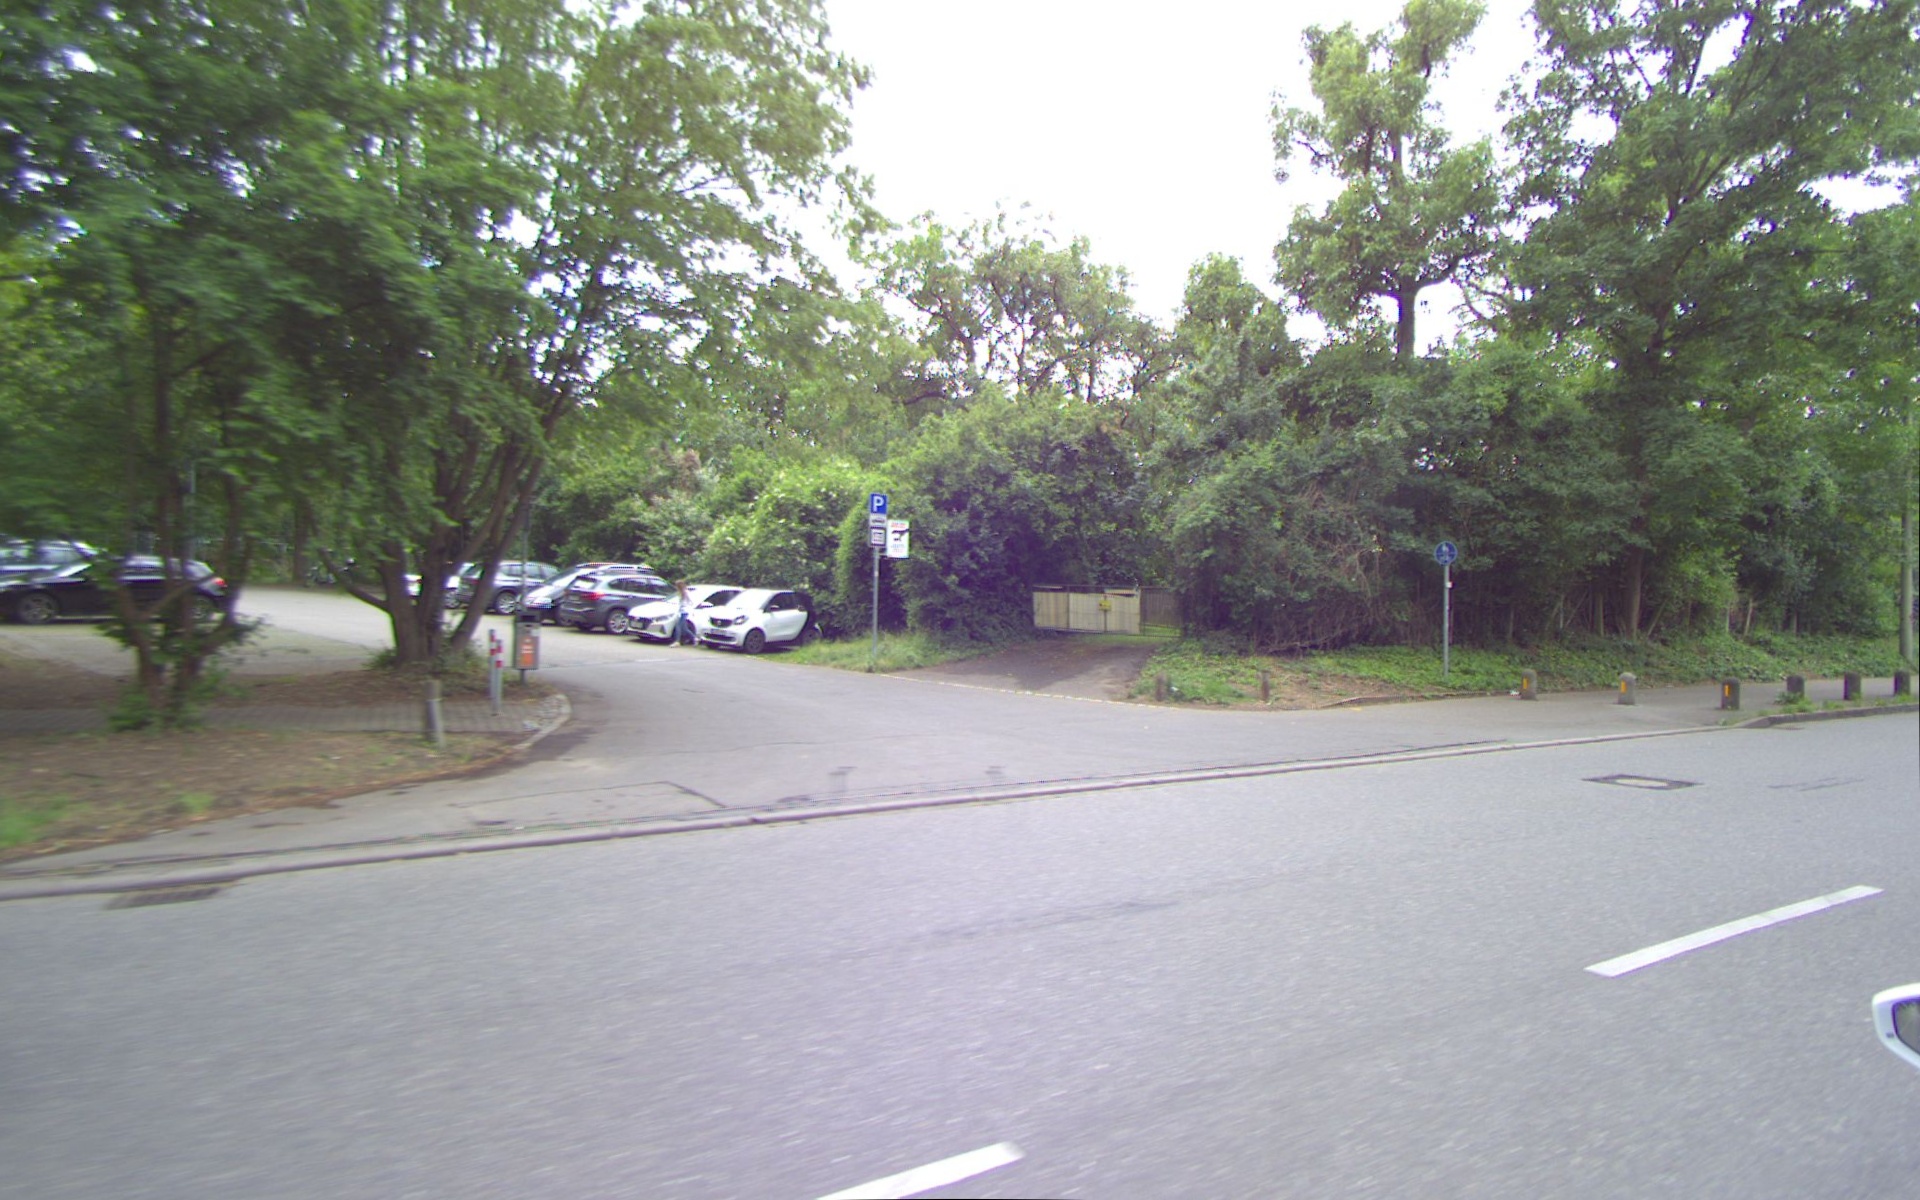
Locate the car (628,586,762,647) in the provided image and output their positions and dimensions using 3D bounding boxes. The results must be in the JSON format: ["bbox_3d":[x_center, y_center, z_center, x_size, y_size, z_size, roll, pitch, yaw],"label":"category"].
[{"bbox_3d":[-6.675,0.409,25.481,1.354,1.420,3.058,3,1,38],"label":"car"}]

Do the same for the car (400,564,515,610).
[{"bbox_3d":[-16.190,-0.396,32.468,1.247,1.387,3.058,3,1,38],"label":"car"}]

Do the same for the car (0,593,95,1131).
[{"bbox_3d":[-4.399,0.670,1.716,4.149,1.447,1.708,1,-3,-32],"label":"car"}]

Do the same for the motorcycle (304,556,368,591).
[{"bbox_3d":[-25.502,-1.061,41.099,2.161,1.341,0.720,1,1,-30],"label":"motorcycle"}]

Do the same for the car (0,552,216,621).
[{"bbox_3d":[-18.573,-0.276,21.437,1.419,1.358,4.107,3,1,38],"label":"car"}]

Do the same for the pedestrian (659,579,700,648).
[{"bbox_3d":[-6.750,0.321,24.187,0.463,1.632,0.827,2,0,38],"label":"pedestrian"}]

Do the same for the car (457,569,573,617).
[{"bbox_3d":[-13.838,-0.207,31.358,1.247,1.379,3.058,3,1,38],"label":"car"}]

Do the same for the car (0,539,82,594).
[{"bbox_3d":[-26.303,-0.937,27.368,1.516,1.434,3.365,3,1,38],"label":"car"}]

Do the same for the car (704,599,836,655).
[{"bbox_3d":[-4.631,0.642,24.758,1.354,1.255,3.058,3,1,38],"label":"car"}]

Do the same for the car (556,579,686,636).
[{"bbox_3d":[-9.101,0.199,27.098,1.354,1.420,3.058,3,1,38],"label":"car"}]

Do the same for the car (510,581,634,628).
[{"bbox_3d":[-10.963,0.136,28.523,1.247,1.228,3.058,3,1,38],"label":"car"}]

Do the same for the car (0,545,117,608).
[{"bbox_3d":[-22.501,-0.582,23.997,1.516,1.434,3.365,3,1,38],"label":"car"}]
